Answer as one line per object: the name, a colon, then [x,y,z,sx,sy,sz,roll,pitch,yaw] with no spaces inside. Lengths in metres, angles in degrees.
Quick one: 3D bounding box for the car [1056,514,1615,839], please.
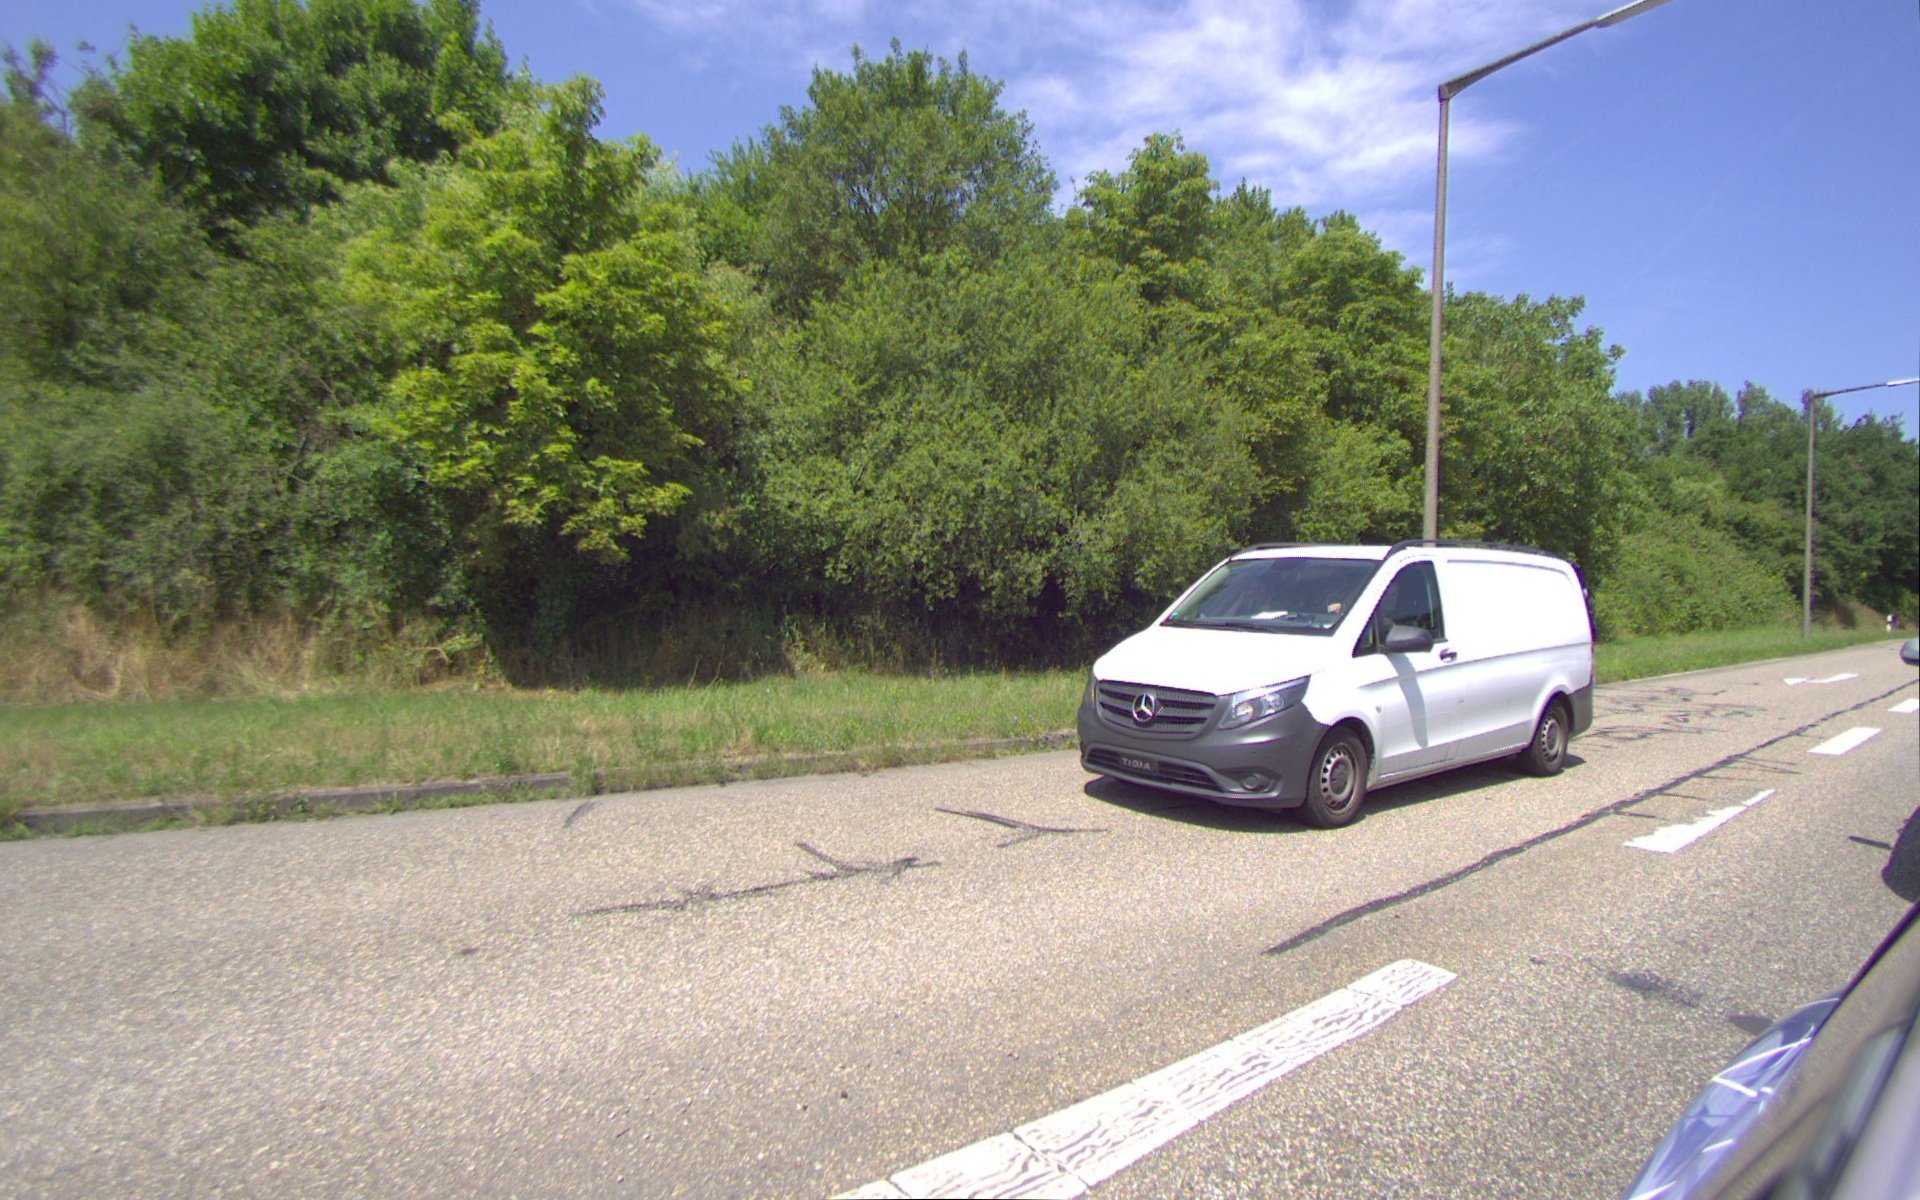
car: [3.157,0.423,7.957,4.818,1.841,1.865,0,1,-38]
